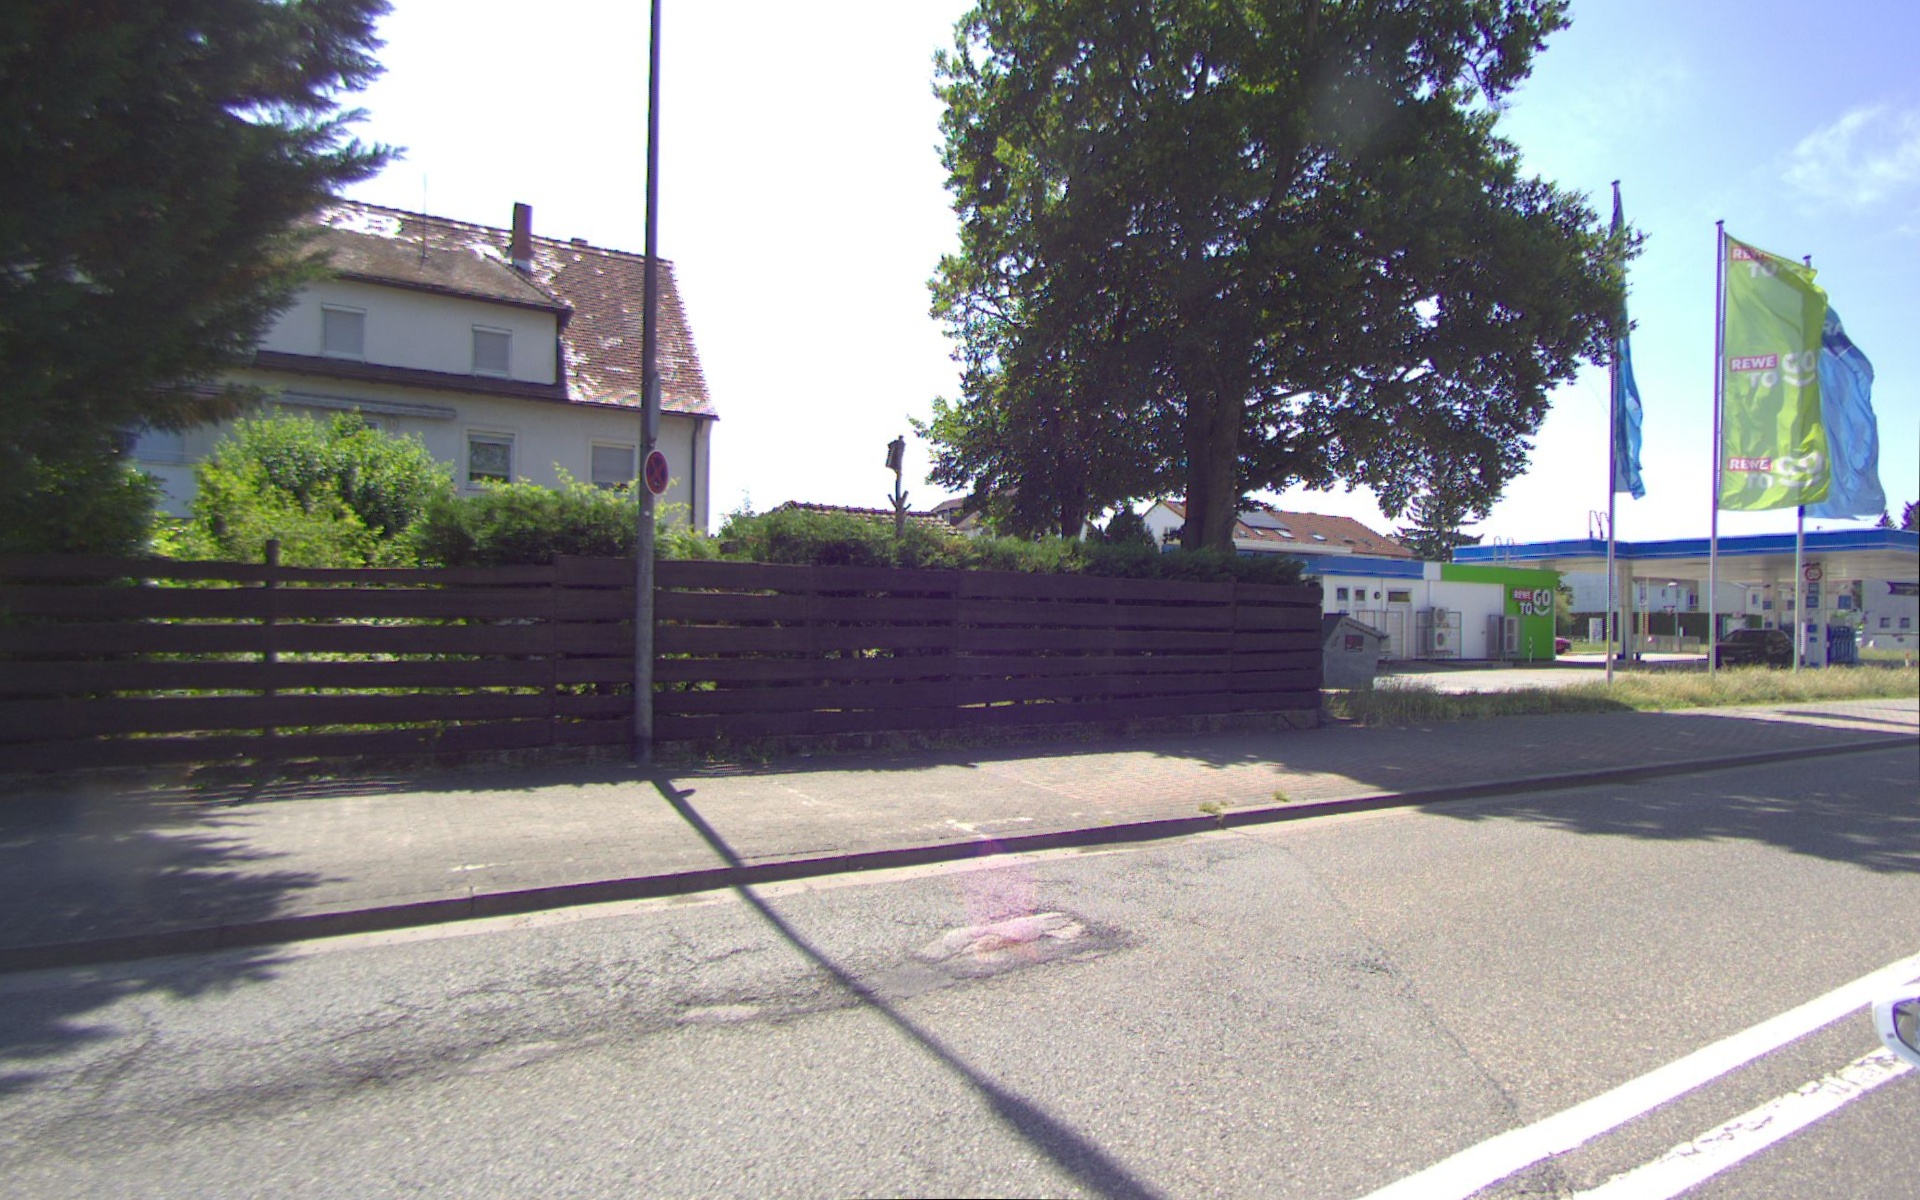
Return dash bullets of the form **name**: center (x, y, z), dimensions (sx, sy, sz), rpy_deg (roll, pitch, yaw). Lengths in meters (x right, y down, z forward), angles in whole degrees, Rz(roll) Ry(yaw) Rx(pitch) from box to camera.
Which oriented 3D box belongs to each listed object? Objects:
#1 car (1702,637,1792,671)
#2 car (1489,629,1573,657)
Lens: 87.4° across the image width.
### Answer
- **car**: center (33.604, 2.281, 42.885), dimensions (3.951, 1.400, 1.663), rpy_deg (1, -1, -29)
- **car**: center (33.205, 2.466, 58.454), dimensions (1.659, 1.556, 3.959), rpy_deg (1, -1, -36)
